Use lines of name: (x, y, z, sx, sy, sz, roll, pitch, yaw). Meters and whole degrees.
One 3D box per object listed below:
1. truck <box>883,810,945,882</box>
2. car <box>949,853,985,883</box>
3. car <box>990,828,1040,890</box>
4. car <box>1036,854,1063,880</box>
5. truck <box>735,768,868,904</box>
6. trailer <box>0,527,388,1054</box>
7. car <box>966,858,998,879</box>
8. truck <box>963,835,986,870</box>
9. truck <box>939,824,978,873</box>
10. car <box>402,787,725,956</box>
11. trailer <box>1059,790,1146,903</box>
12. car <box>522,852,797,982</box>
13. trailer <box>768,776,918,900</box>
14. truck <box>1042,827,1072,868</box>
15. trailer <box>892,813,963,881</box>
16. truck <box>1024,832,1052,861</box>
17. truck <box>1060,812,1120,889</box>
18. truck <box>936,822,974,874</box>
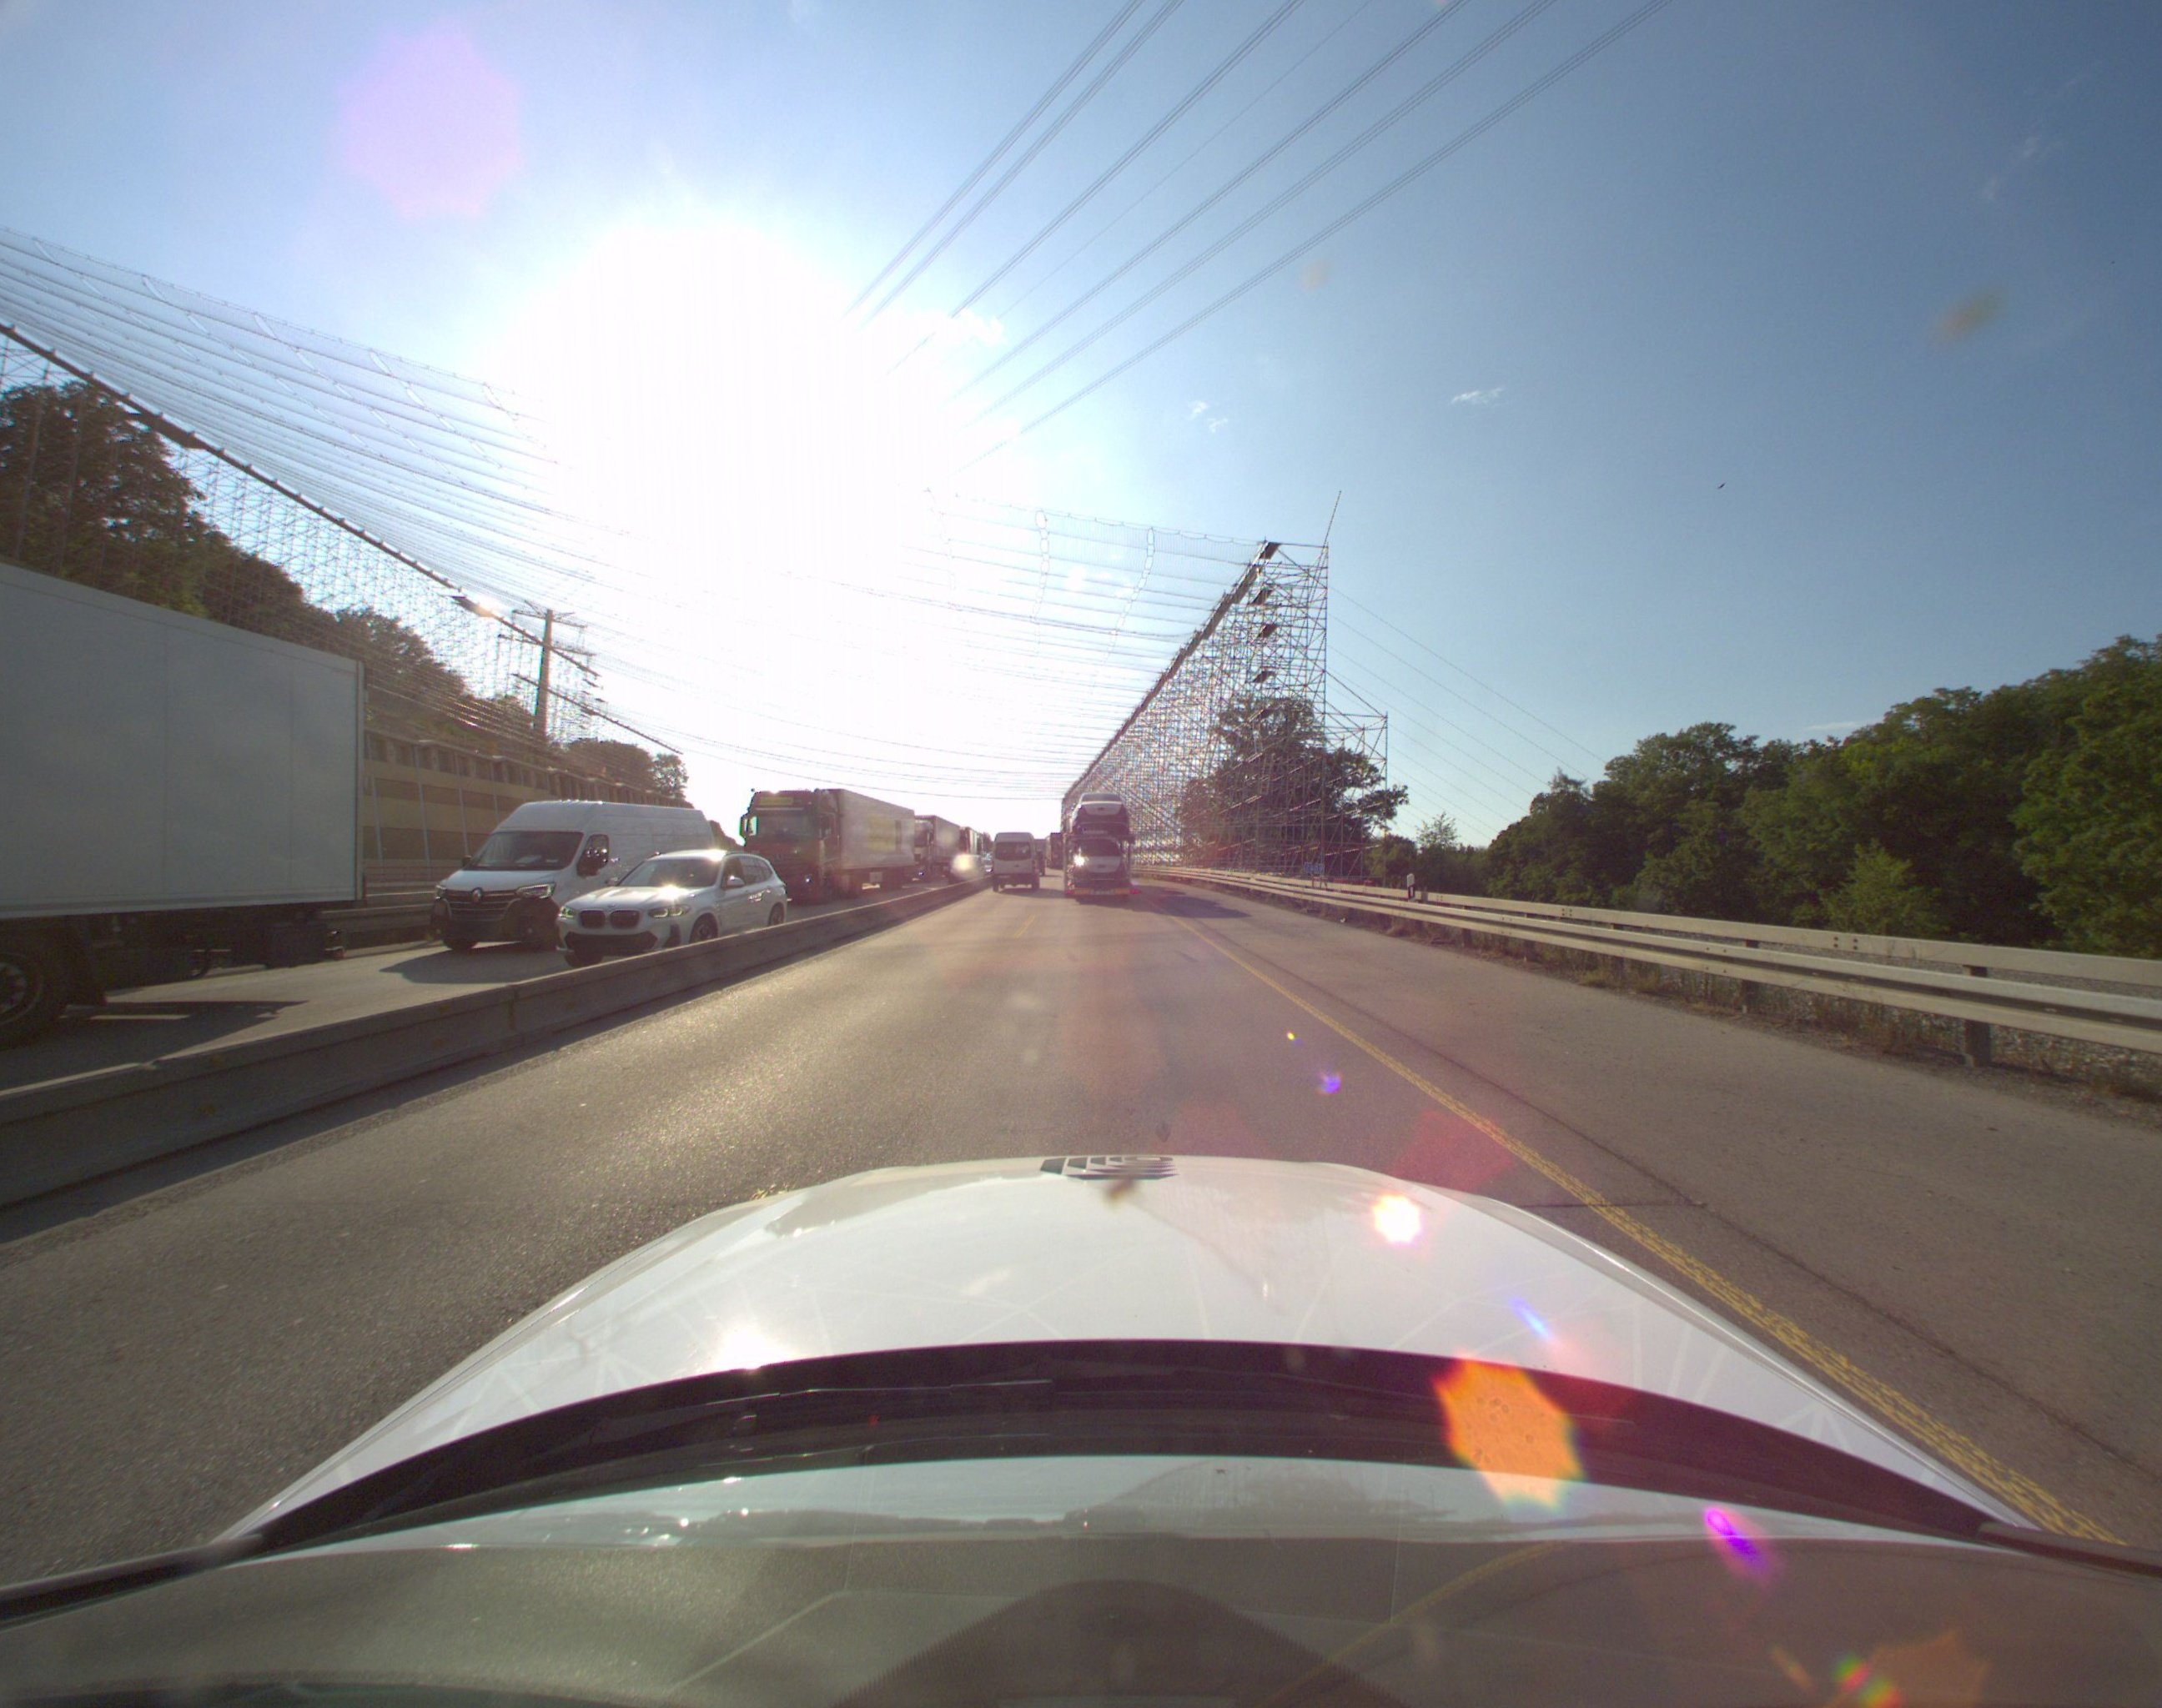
truck: (-10.100, -0.446, 49.755, 2.780, 4.141, 5.928, 0, 0, -2)
car: (-6.619, 0.782, 47.763, 1.749, 1.657, 4.856, -1, 0, -4)
car: (-2.937, 0.233, 37.027, 1.951, 2.621, 3.997, -1, -1, -2)
car: (-2.539, 1.040, 64.440, 1.990, 2.014, 3.993, 0, -1, -5)
truck: (-9.652, -0.561, 28.841, 2.737, 4.300, 5.930, 0, 0, -1)
trailer: (-10.020, -0.521, 3.214, 2.712, 4.218, 13.748, 0, 0, 0)
car: (-6.934, 0.984, 57.416, 1.726, 1.377, 4.887, 1, 0, -2)
truck: (-13.387, -0.155, 102.390, 2.660, 4.230, 6.088, 0, 0, -8)
truck: (-11.185, -0.421, 75.559, 2.783, 4.141, 13.781, 0, 0, -5)
car: (-9.807, 0.234, 16.523, 2.015, 2.690, 6.950, 1, 1, 1)
trailer: (0.569, -0.209, 34.491, 2.861, 3.725, 14.938, 0, 0, -1)
car: (-6.312, 0.813, 12.990, 1.863, 1.588, 4.803, 1, 1, 0)
trailer: (-9.800, -0.531, 35.672, 2.758, 4.334, 13.872, 0, 0, -1)
truck: (-2.818, -0.737, 93.264, 2.728, 4.385, 11.499, 1, 0, -5)
trailer: (-10.363, -0.402, 56.571, 2.792, 4.141, 13.953, 0, 0, -2)
truck: (-6.839, -1.241, 132.767, 3.676, 4.220, 13.665, -3, 0, 0)
truck: (0.404, -0.134, 43.081, 2.873, 3.702, 7.322, 0, 0, -1)
truck: (-10.594, -0.458, 69.089, 2.783, 4.141, 6.666, 0, 0, -5)
